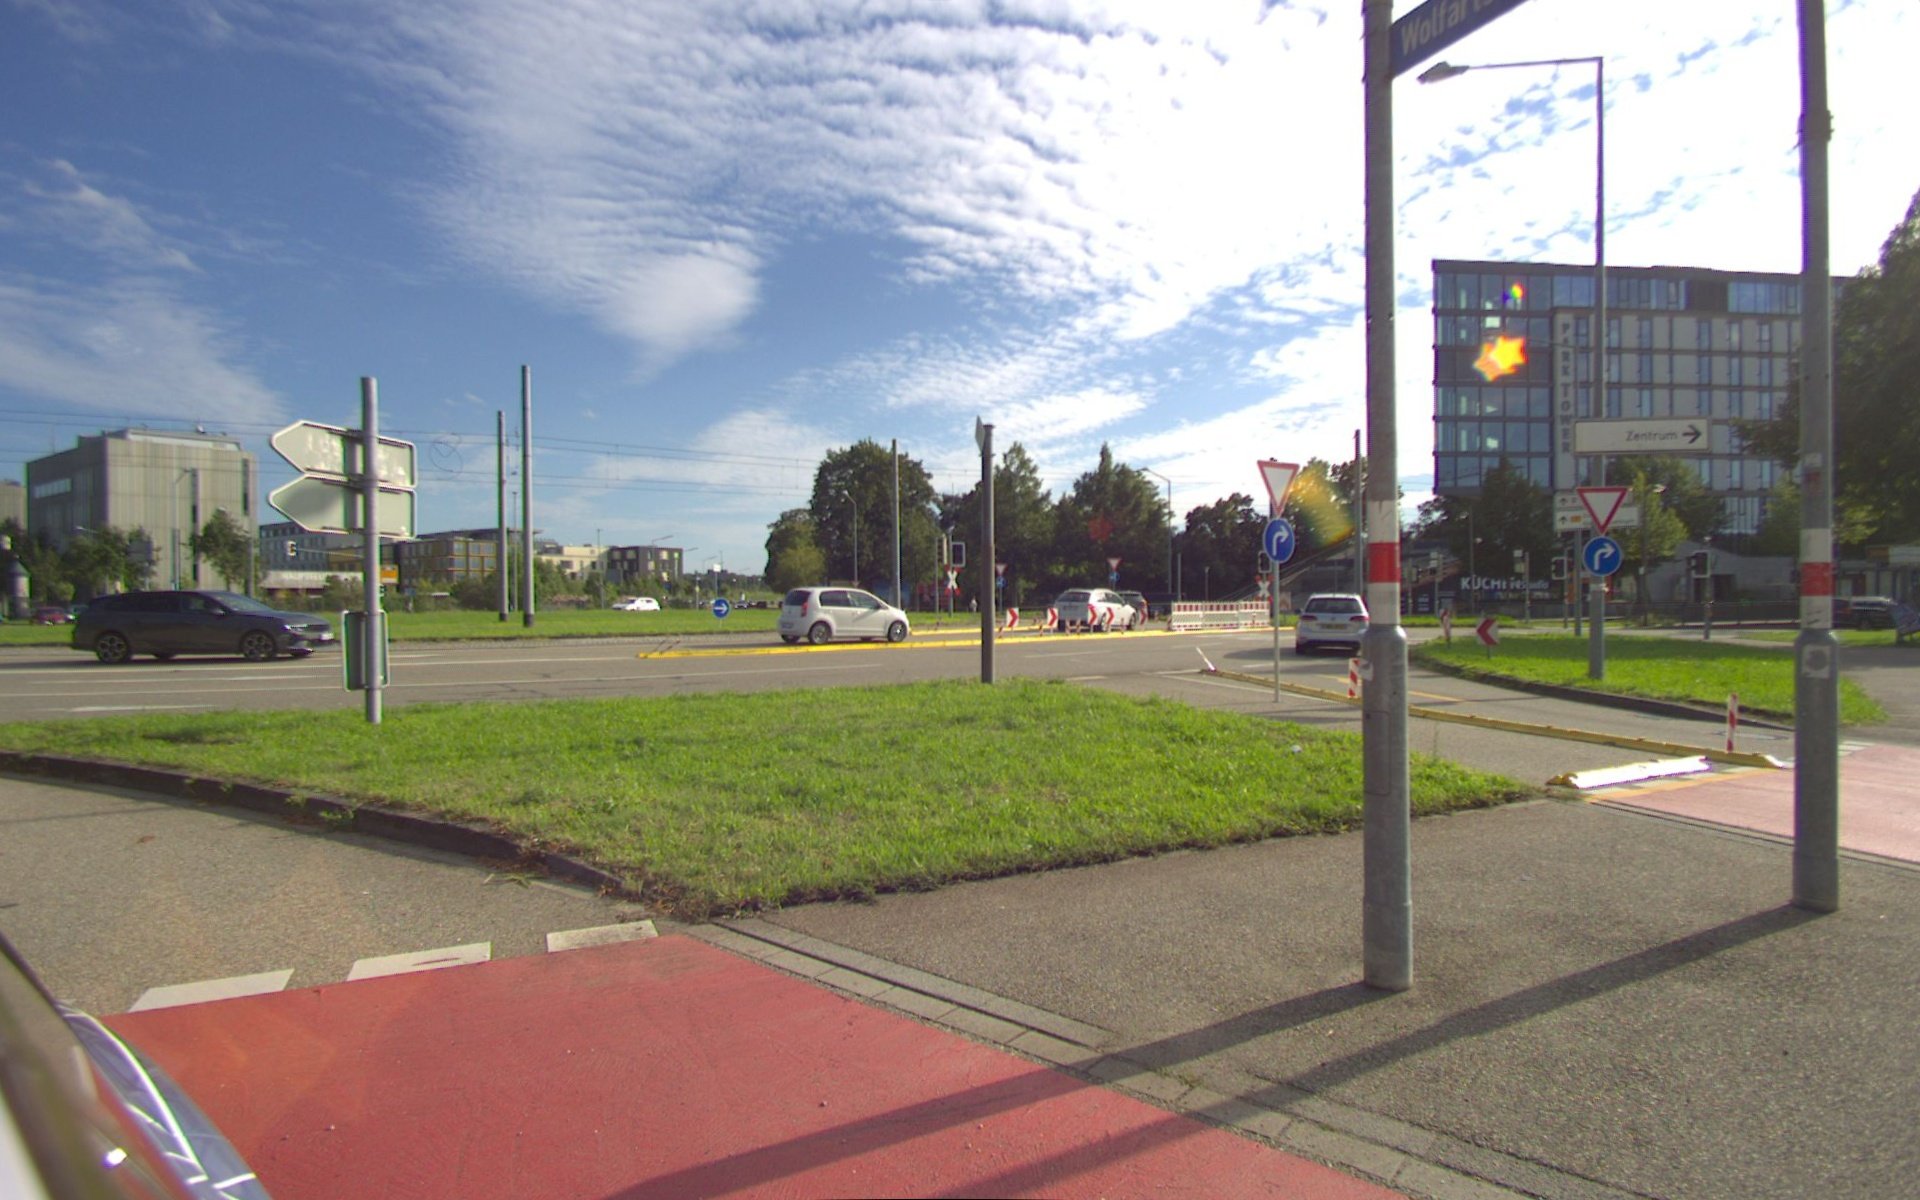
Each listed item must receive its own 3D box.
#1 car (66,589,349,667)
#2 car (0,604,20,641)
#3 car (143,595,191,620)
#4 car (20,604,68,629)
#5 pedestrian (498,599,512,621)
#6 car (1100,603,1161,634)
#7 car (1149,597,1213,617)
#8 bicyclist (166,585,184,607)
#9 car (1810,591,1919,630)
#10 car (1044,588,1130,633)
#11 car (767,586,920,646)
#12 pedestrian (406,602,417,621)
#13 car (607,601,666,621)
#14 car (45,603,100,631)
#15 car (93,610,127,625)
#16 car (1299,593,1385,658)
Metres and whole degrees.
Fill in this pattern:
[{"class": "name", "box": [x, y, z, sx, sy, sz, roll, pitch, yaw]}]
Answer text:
[{"class": "car", "box": [-15.378, 0.537, 20.893, 4.378, 1.431, 1.827, -1, 1, -6]}, {"class": "car", "box": [-44.801, 1.052, 45.510, 1.965, 1.674, 4.819, -1, 0, -20]}, {"class": "car", "box": [-74.862, 0.754, 95.550, 6.013, 2.281, 2.040, -1, -2, 37]}, {"class": "car", "box": [-64.947, 1.156, 71.727, 4.801, 1.674, 1.973, 0, 0, 41]}, {"class": "pedestrian", "box": [-39.649, 0.870, 88.247, 0.882, 1.930, 0.868, -2, 2, -11]}, {"class": "car", "box": [8.529, 0.884, 50.990, 1.808, 1.442, 4.008, -1, 0, -9]}, {"class": "car", "box": [14.165, 0.460, 64.905, 3.955, 1.275, 1.678, 0, -2, 14]}, {"class": "bicyclist", "box": [-56.759, -0.257, 73.158, 0.996, 1.567, 0.854, -1, 0, 39]}, {"class": "car", "box": [39.520, 0.422, 43.292, 4.770, 1.578, 2.003, 0, 2, -5]}, {"class": "car", "box": [4.623, 0.347, 36.211, 1.844, 1.456, 4.603, 3, 1, 22]}, {"class": "car", "box": [-3.032, 0.402, 26.638, 3.601, 1.475, 1.771, 1, 0, -39]}, {"class": "pedestrian", "box": [-48.366, 0.977, 89.255, 0.656, 1.641, 0.621, -1, 1, 37]}, {"class": "car", "box": [-25.781, 0.852, 80.711, 1.887, 1.588, 4.379, 0, 0, 29]}, {"class": "car", "box": [-55.522, 1.037, 63.271, 4.801, 1.674, 1.973, 0, 0, 41]}, {"class": "car", "box": [-88.821, 1.879, 105.753, 3.984, 1.513, 1.666, -1, -2, 35]}, {"class": "car", "box": [9.367, 0.562, 24.976, 1.810, 1.463, 4.512, 0, 0, 20]}]
